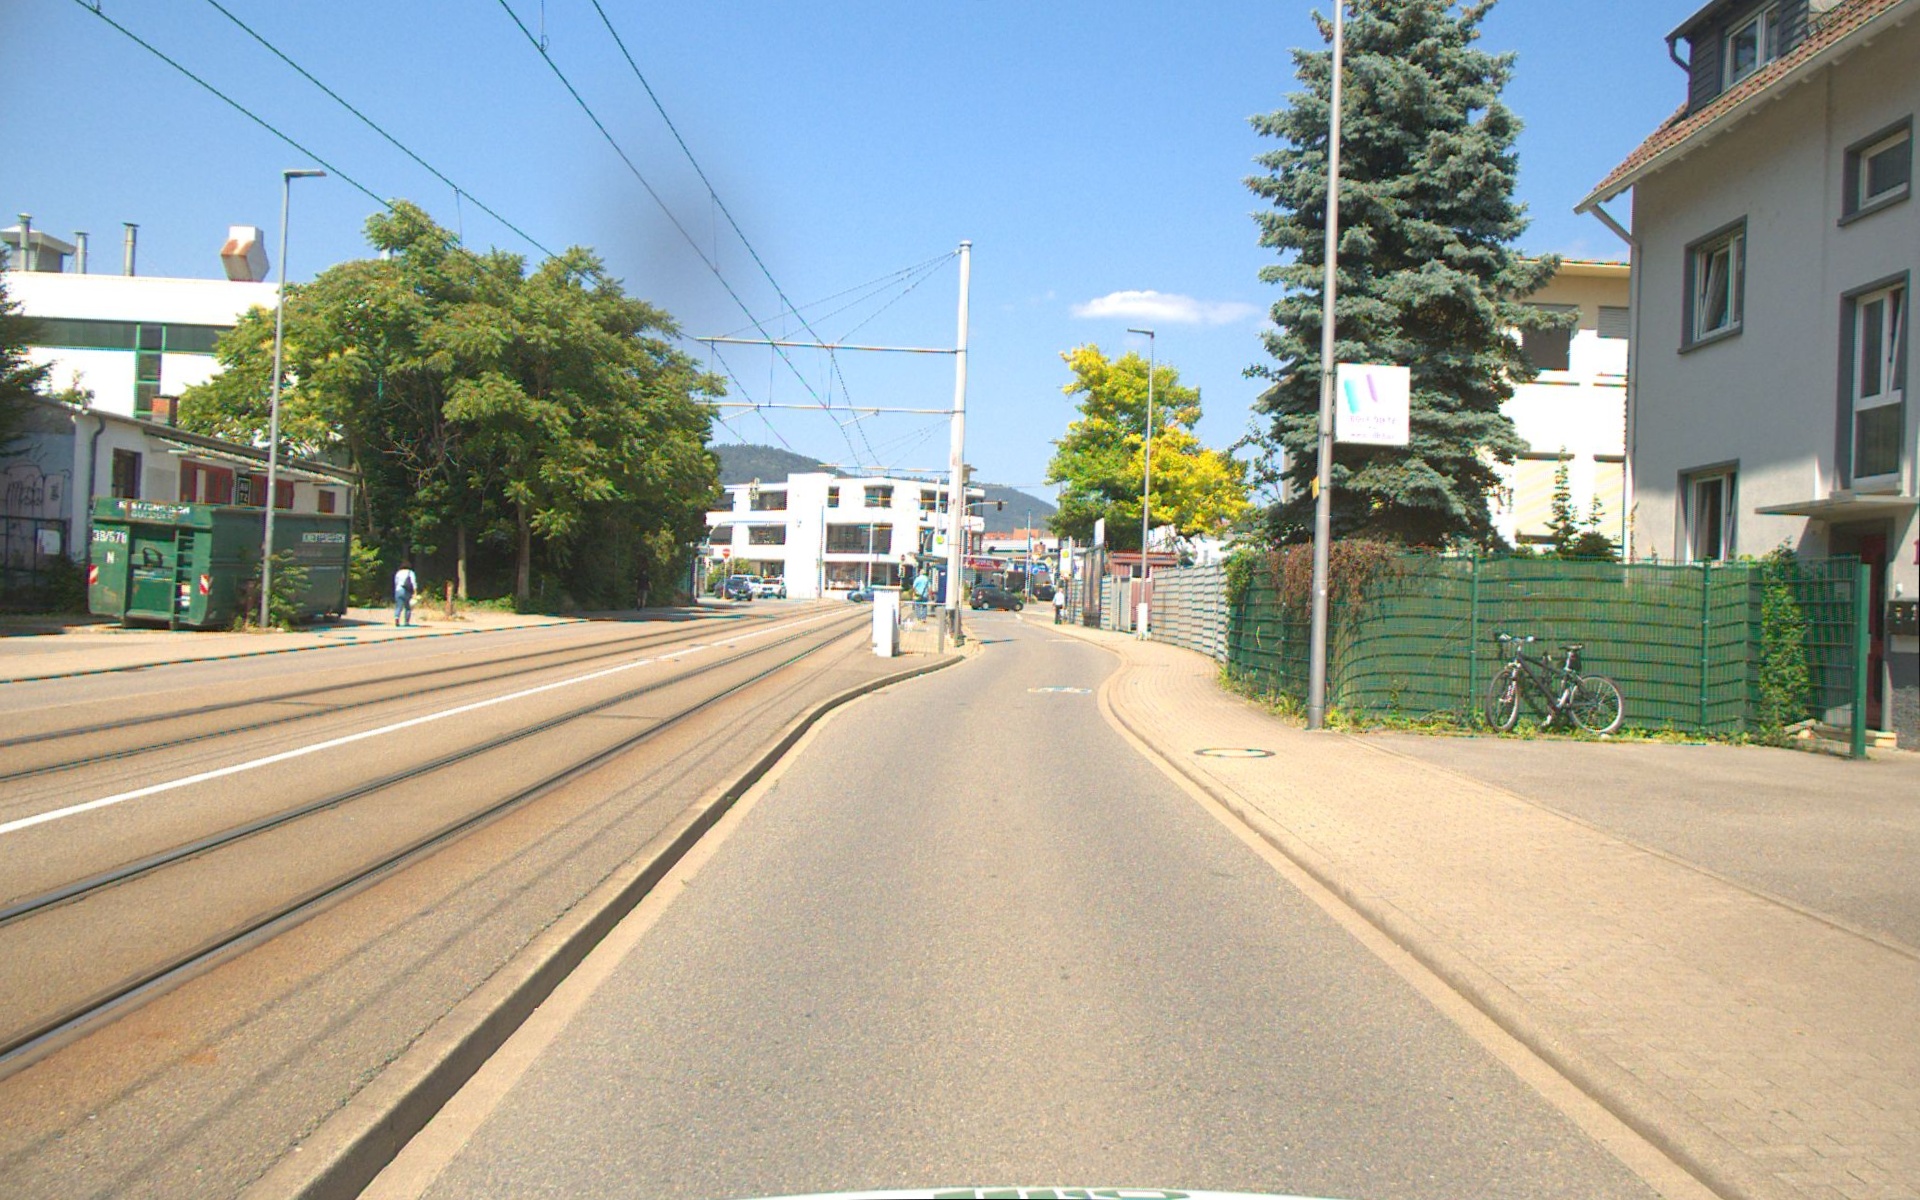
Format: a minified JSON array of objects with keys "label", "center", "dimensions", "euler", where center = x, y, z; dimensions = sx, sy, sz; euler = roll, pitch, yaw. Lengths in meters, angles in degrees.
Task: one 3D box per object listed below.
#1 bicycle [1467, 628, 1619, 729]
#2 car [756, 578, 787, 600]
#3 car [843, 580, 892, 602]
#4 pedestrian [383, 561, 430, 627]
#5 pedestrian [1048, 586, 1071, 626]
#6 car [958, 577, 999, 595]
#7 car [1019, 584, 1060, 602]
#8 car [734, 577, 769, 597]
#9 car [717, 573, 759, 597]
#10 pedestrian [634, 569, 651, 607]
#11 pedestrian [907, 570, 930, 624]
[{"label":"bicycle","center":[6.067,0.819,17.229],"dimensions":[1.441,1.008,0.388],"euler":[2,-3,-2]},{"label":"car","center":[-14.902,-0.842,130.758],"dimensions":[1.719,1.676,3.764],"euler":[1,0,5]},{"label":"car","center":[-7.807,-0.754,139.591],"dimensions":[3.826,1.709,1.726],"euler":[1,0,-13]},{"label":"pedestrian","center":[-13.346,-0.146,39.914],"dimensions":[0.817,1.564,0.838],"euler":[1,0,-1]},{"label":"pedestrian","center":[4.681,0.267,77.656],"dimensions":[0.921,1.818,0.953],"euler":[2,1,-2]},{"label":"car","center":[1.827,-1.364,163.798],"dimensions":[3.969,1.691,1.708],"euler":[1,0,-44]},{"label":"car","center":[7.746,-0.687,161.625],"dimensions":[1.834,1.691,3.972],"euler":[2,1,44]},{"label":"car","center":[-18.445,-1.157,146.248],"dimensions":[1.903,1.676,3.730],"euler":[1,0,-27]},{"label":"car","center":[-15.627,-1.061,116.252],"dimensions":[1.764,1.579,3.968],"euler":[1,0,-25]},{"label":"pedestrian","center":[-13.213,-0.484,68.895],"dimensions":[0.572,1.564,0.657],"euler":[1,0,-1]},{"label":"pedestrian","center":[-1.393,-0.108,55.473],"dimensions":[0.728,1.771,0.727],"euler":[1,0,-1]}]
